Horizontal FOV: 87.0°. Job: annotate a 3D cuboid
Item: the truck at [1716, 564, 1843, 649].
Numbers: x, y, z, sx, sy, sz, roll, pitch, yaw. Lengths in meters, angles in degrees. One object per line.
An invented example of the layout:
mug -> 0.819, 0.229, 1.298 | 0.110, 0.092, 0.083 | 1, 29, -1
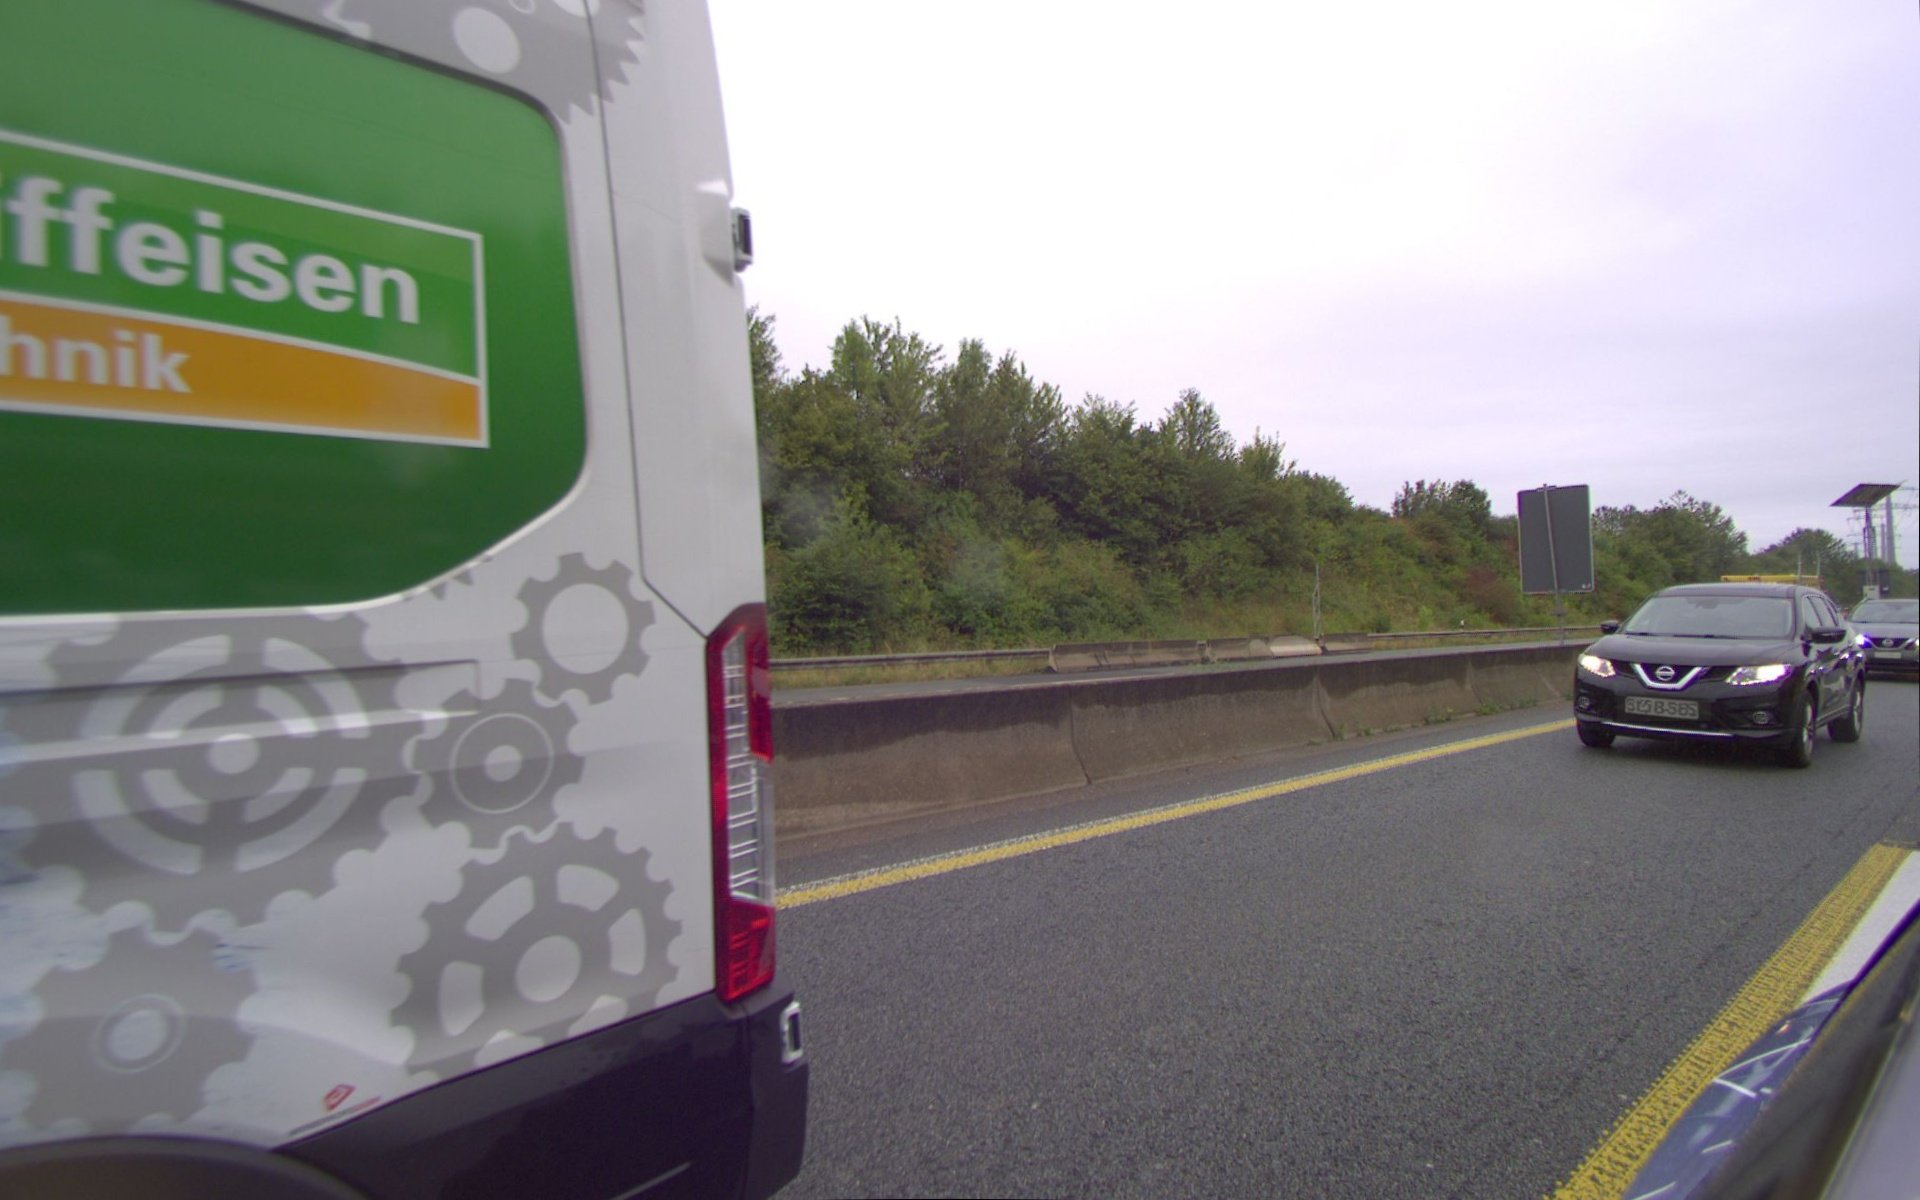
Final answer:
truck -> 36.666, 0.205, 45.132 | 9.405, 3.467, 2.618 | -1, 1, -40

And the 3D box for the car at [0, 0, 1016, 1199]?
car -> -2.893, -0.016, 0.532 | 6.008, 2.709, 2.149 | -1, 1, -40

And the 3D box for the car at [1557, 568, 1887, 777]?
car -> 7.997, 0.559, 10.441 | 4.561, 1.696, 1.892 | -1, 1, -42

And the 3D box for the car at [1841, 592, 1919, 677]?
car -> 18.743, 0.609, 19.819 | 4.053, 1.509, 1.782 | -1, 1, -42

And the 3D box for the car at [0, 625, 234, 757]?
car -> -14.036, 1.369, 15.804 | 4.255, 1.792, 1.731 | -1, 1, -42
